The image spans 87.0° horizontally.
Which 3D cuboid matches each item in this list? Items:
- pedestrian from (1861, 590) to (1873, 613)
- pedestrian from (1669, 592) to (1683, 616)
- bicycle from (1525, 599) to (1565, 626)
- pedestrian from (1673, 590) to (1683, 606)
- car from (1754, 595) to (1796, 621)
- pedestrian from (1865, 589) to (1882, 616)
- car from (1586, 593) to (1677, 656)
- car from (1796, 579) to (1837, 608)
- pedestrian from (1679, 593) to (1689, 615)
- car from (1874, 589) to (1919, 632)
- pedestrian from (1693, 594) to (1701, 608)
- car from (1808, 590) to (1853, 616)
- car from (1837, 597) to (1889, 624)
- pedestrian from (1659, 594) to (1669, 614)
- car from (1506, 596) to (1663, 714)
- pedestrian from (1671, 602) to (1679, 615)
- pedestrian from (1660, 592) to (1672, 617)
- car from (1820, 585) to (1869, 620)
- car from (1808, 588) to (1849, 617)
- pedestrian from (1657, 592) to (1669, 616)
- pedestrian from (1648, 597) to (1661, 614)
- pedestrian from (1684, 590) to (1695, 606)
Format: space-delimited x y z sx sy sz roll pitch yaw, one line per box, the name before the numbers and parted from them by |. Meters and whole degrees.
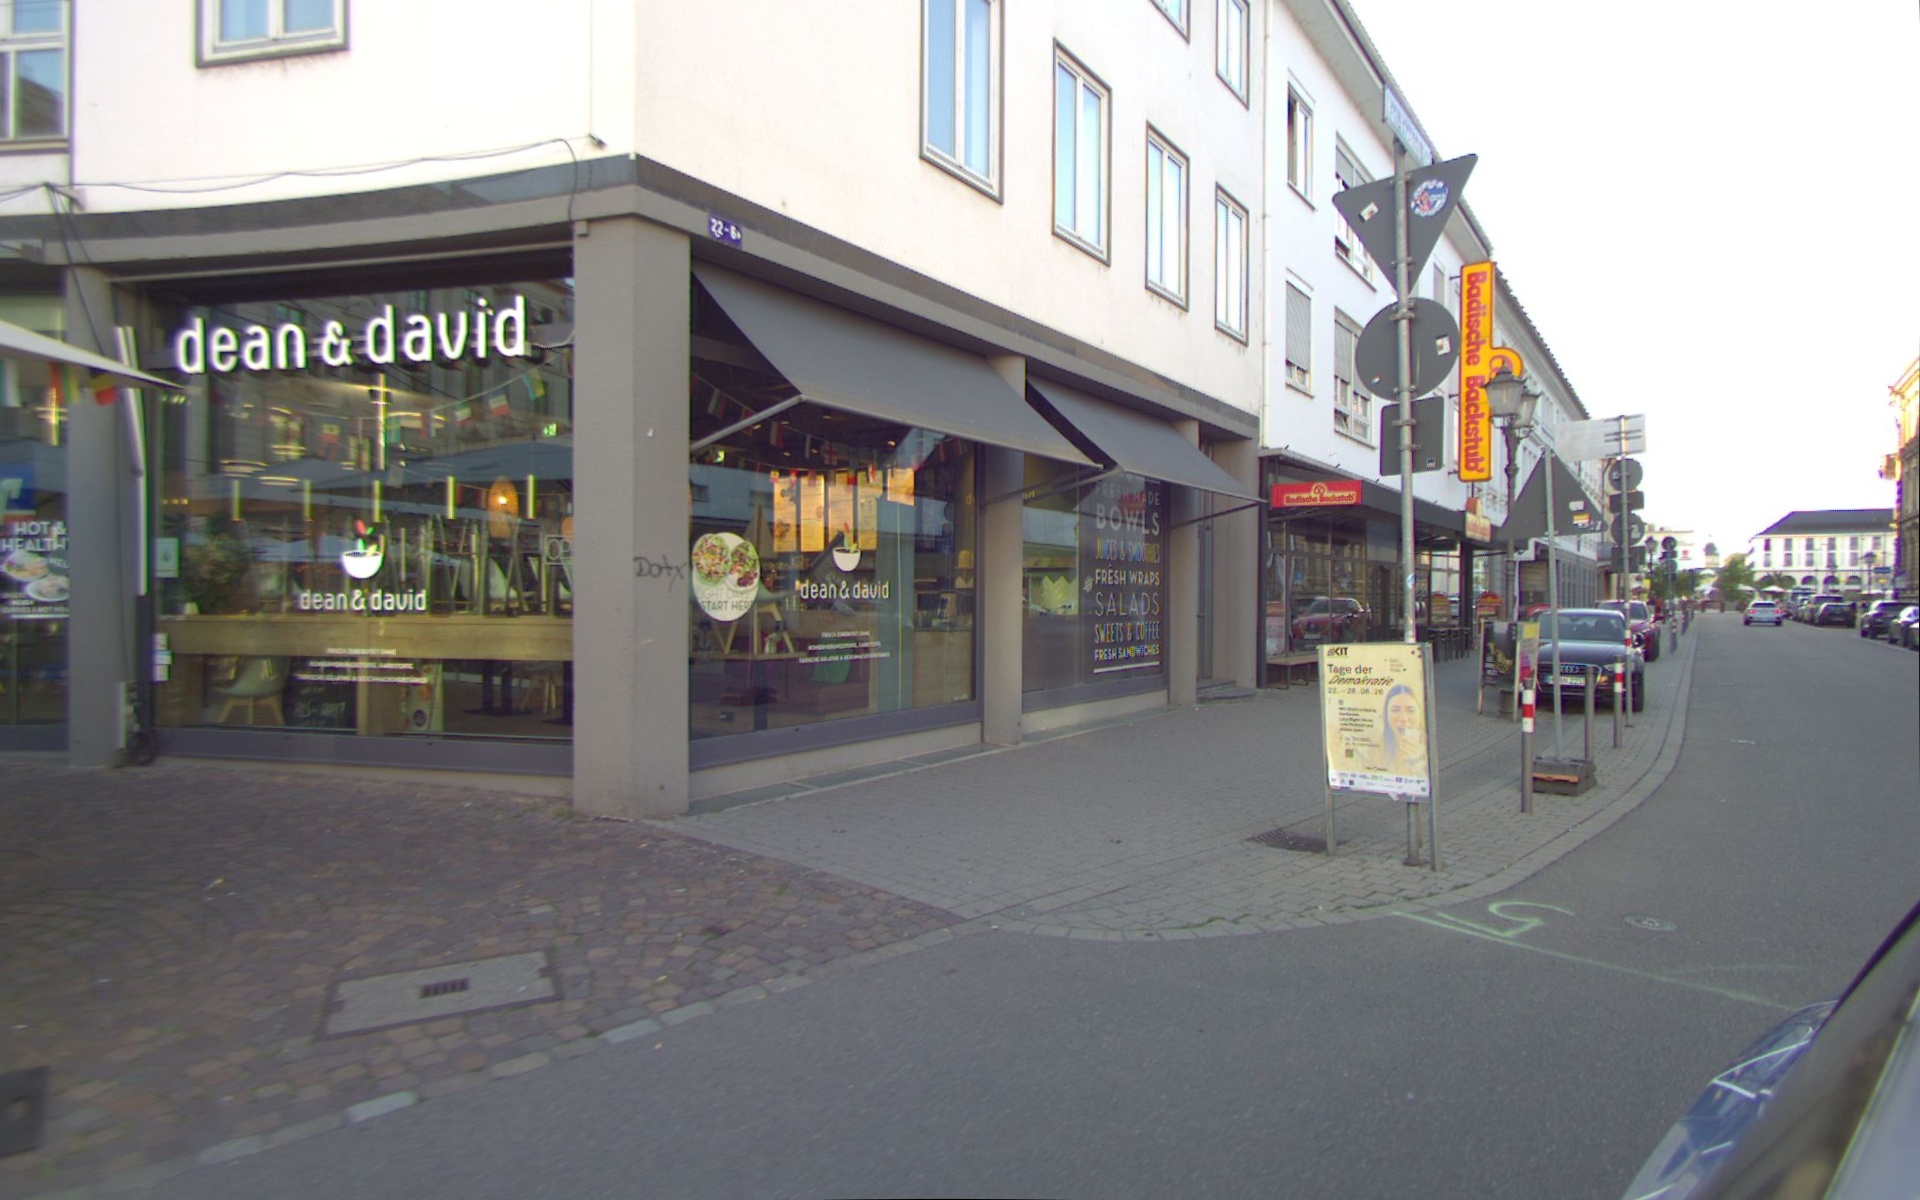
pedestrian | 69.764 0.103 77.850 0.606 1.752 0.693 0 0 39
pedestrian | 52.663 0.301 74.448 0.748 1.752 0.867 0 0 44
bicycle | 27.872 0.584 48.231 1.651 1.268 0.433 0 0 36
pedestrian | 80.445 -0.188 113.424 0.703 1.752 0.610 0 0 -9
car | 48.871 0.475 60.731 1.759 1.440 3.948 2 1 36
pedestrian | 61.682 0.160 68.331 0.712 1.752 0.884 -3 -2 39
car | 17.777 0.590 26.736 1.756 1.542 3.627 0 0 38
car | 67.860 -0.490 80.234 1.987 2.199 5.142 0 0 35
pedestrian | 56.639 0.305 79.128 0.606 1.752 0.550 0 0 39
car | 38.120 0.405 40.634 1.781 1.635 4.108 1 1 38
pedestrian | 80.816 0.127 111.011 0.680 1.586 0.644 0 0 36
car | 60.459 0.175 70.351 1.989 1.774 4.924 1 1 37
car | 53.373 0.578 59.890 1.989 1.513 4.108 1 1 38
pedestrian | 55.417 0.315 79.661 0.628 1.621 0.606 0 0 39
car | 9.563 0.708 15.388 1.795 1.482 4.066 1 1 34
pedestrian | 55.949 0.645 79.209 0.459 0.992 0.550 0 0 39
pedestrian | 51.353 0.348 73.578 0.619 1.812 0.900 0 0 41
car | 57.037 0.127 65.342 1.988 2.103 4.925 1 2 37
car | 64.046 0.150 74.658 1.989 2.114 5.136 1 1 38
pedestrian | 51.857 0.292 74.654 0.712 1.752 0.861 0 0 40
pedestrian | 57.399 0.482 83.645 0.768 1.377 0.719 0 0 21
pedestrian | 81.389 -0.221 112.901 0.750 1.752 0.670 0 0 -9
